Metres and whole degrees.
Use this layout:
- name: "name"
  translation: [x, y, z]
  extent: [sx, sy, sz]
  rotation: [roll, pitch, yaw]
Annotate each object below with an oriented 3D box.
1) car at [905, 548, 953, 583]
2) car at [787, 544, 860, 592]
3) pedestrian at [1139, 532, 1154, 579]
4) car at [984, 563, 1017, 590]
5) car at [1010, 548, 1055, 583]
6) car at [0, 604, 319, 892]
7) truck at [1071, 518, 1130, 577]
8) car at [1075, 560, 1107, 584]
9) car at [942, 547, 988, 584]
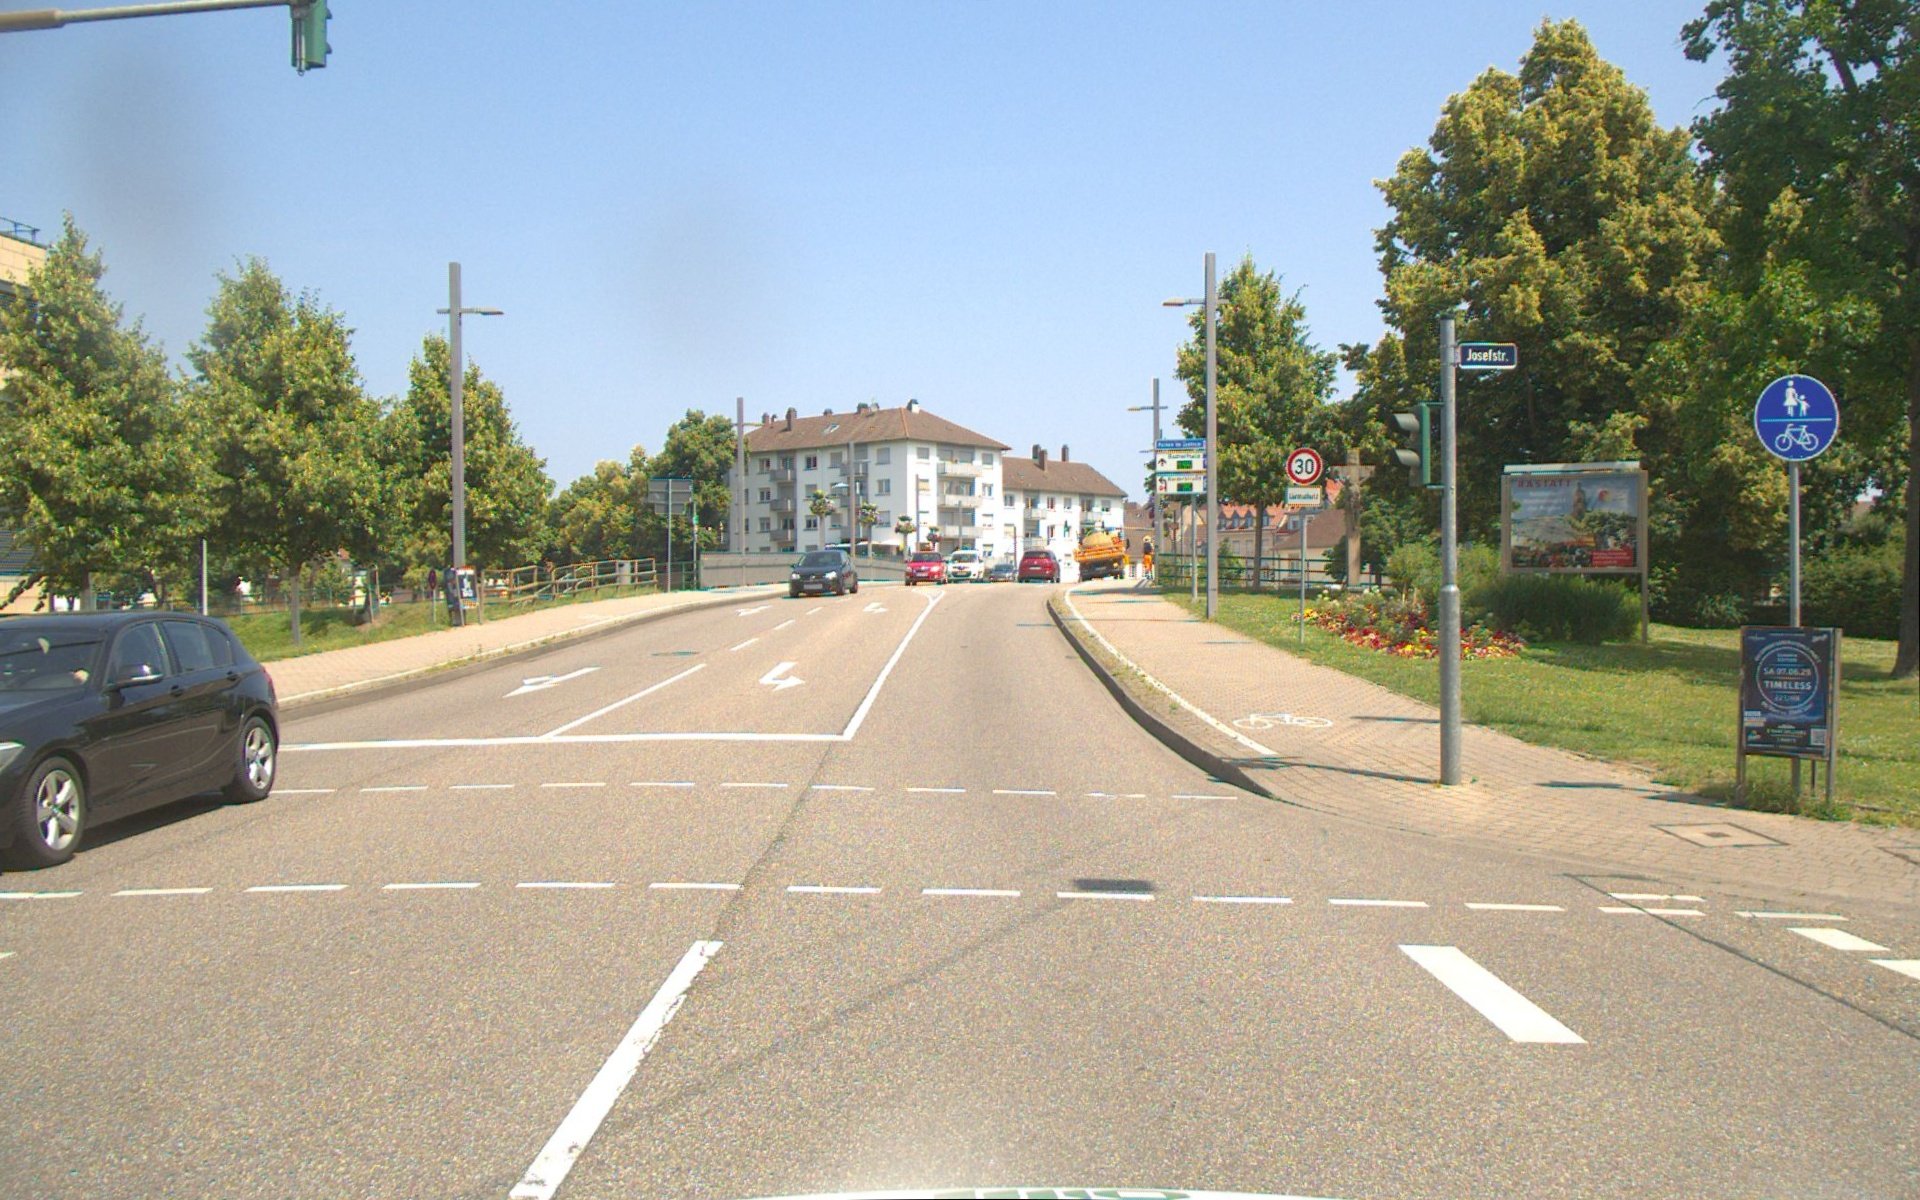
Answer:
- name: "car"
  translation: [-1.356, -1.504, 73.030]
  extent: [1.612, 1.489, 3.864]
  rotation: [0, 0, 7]
- name: "car"
  translation: [-4.423, -1.015, 54.129]
  extent: [1.678, 1.511, 4.034]
  rotation: [1, 0, 5]
- name: "pedestrian"
  translation: [7.952, -1.886, 70.537]
  extent: [0.536, 1.994, 0.672]
  rotation: [-1, 0, -3]
- name: "car"
  translation: [2.753, -1.530, 110.589]
  extent: [1.700, 1.669, 3.924]
  rotation: [-3, 0, 8]
- name: "car"
  translation: [3.611, -1.678, 81.292]
  extent: [1.948, 1.641, 4.345]
  rotation: [-1, 1, 5]
- name: "car"
  translation: [-5.813, 0.811, 10.519]
  extent: [1.799, 1.423, 4.050]
  rotation: [-3, 1, 0]
- name: "truck"
  translation: [6.900, -2.538, 80.820]
  extent: [2.550, 2.738, 5.828]
  rotation: [-1, 1, 8]
- name: "car"
  translation: [8.932, -1.895, 112.396]
  extent: [1.995, 1.529, 4.421]
  rotation: [1, 0, 7]
- name: "car"
  translation: [0.317, -1.902, 91.215]
  extent: [1.798, 1.892, 4.667]
  rotation: [-2, 1, 8]
